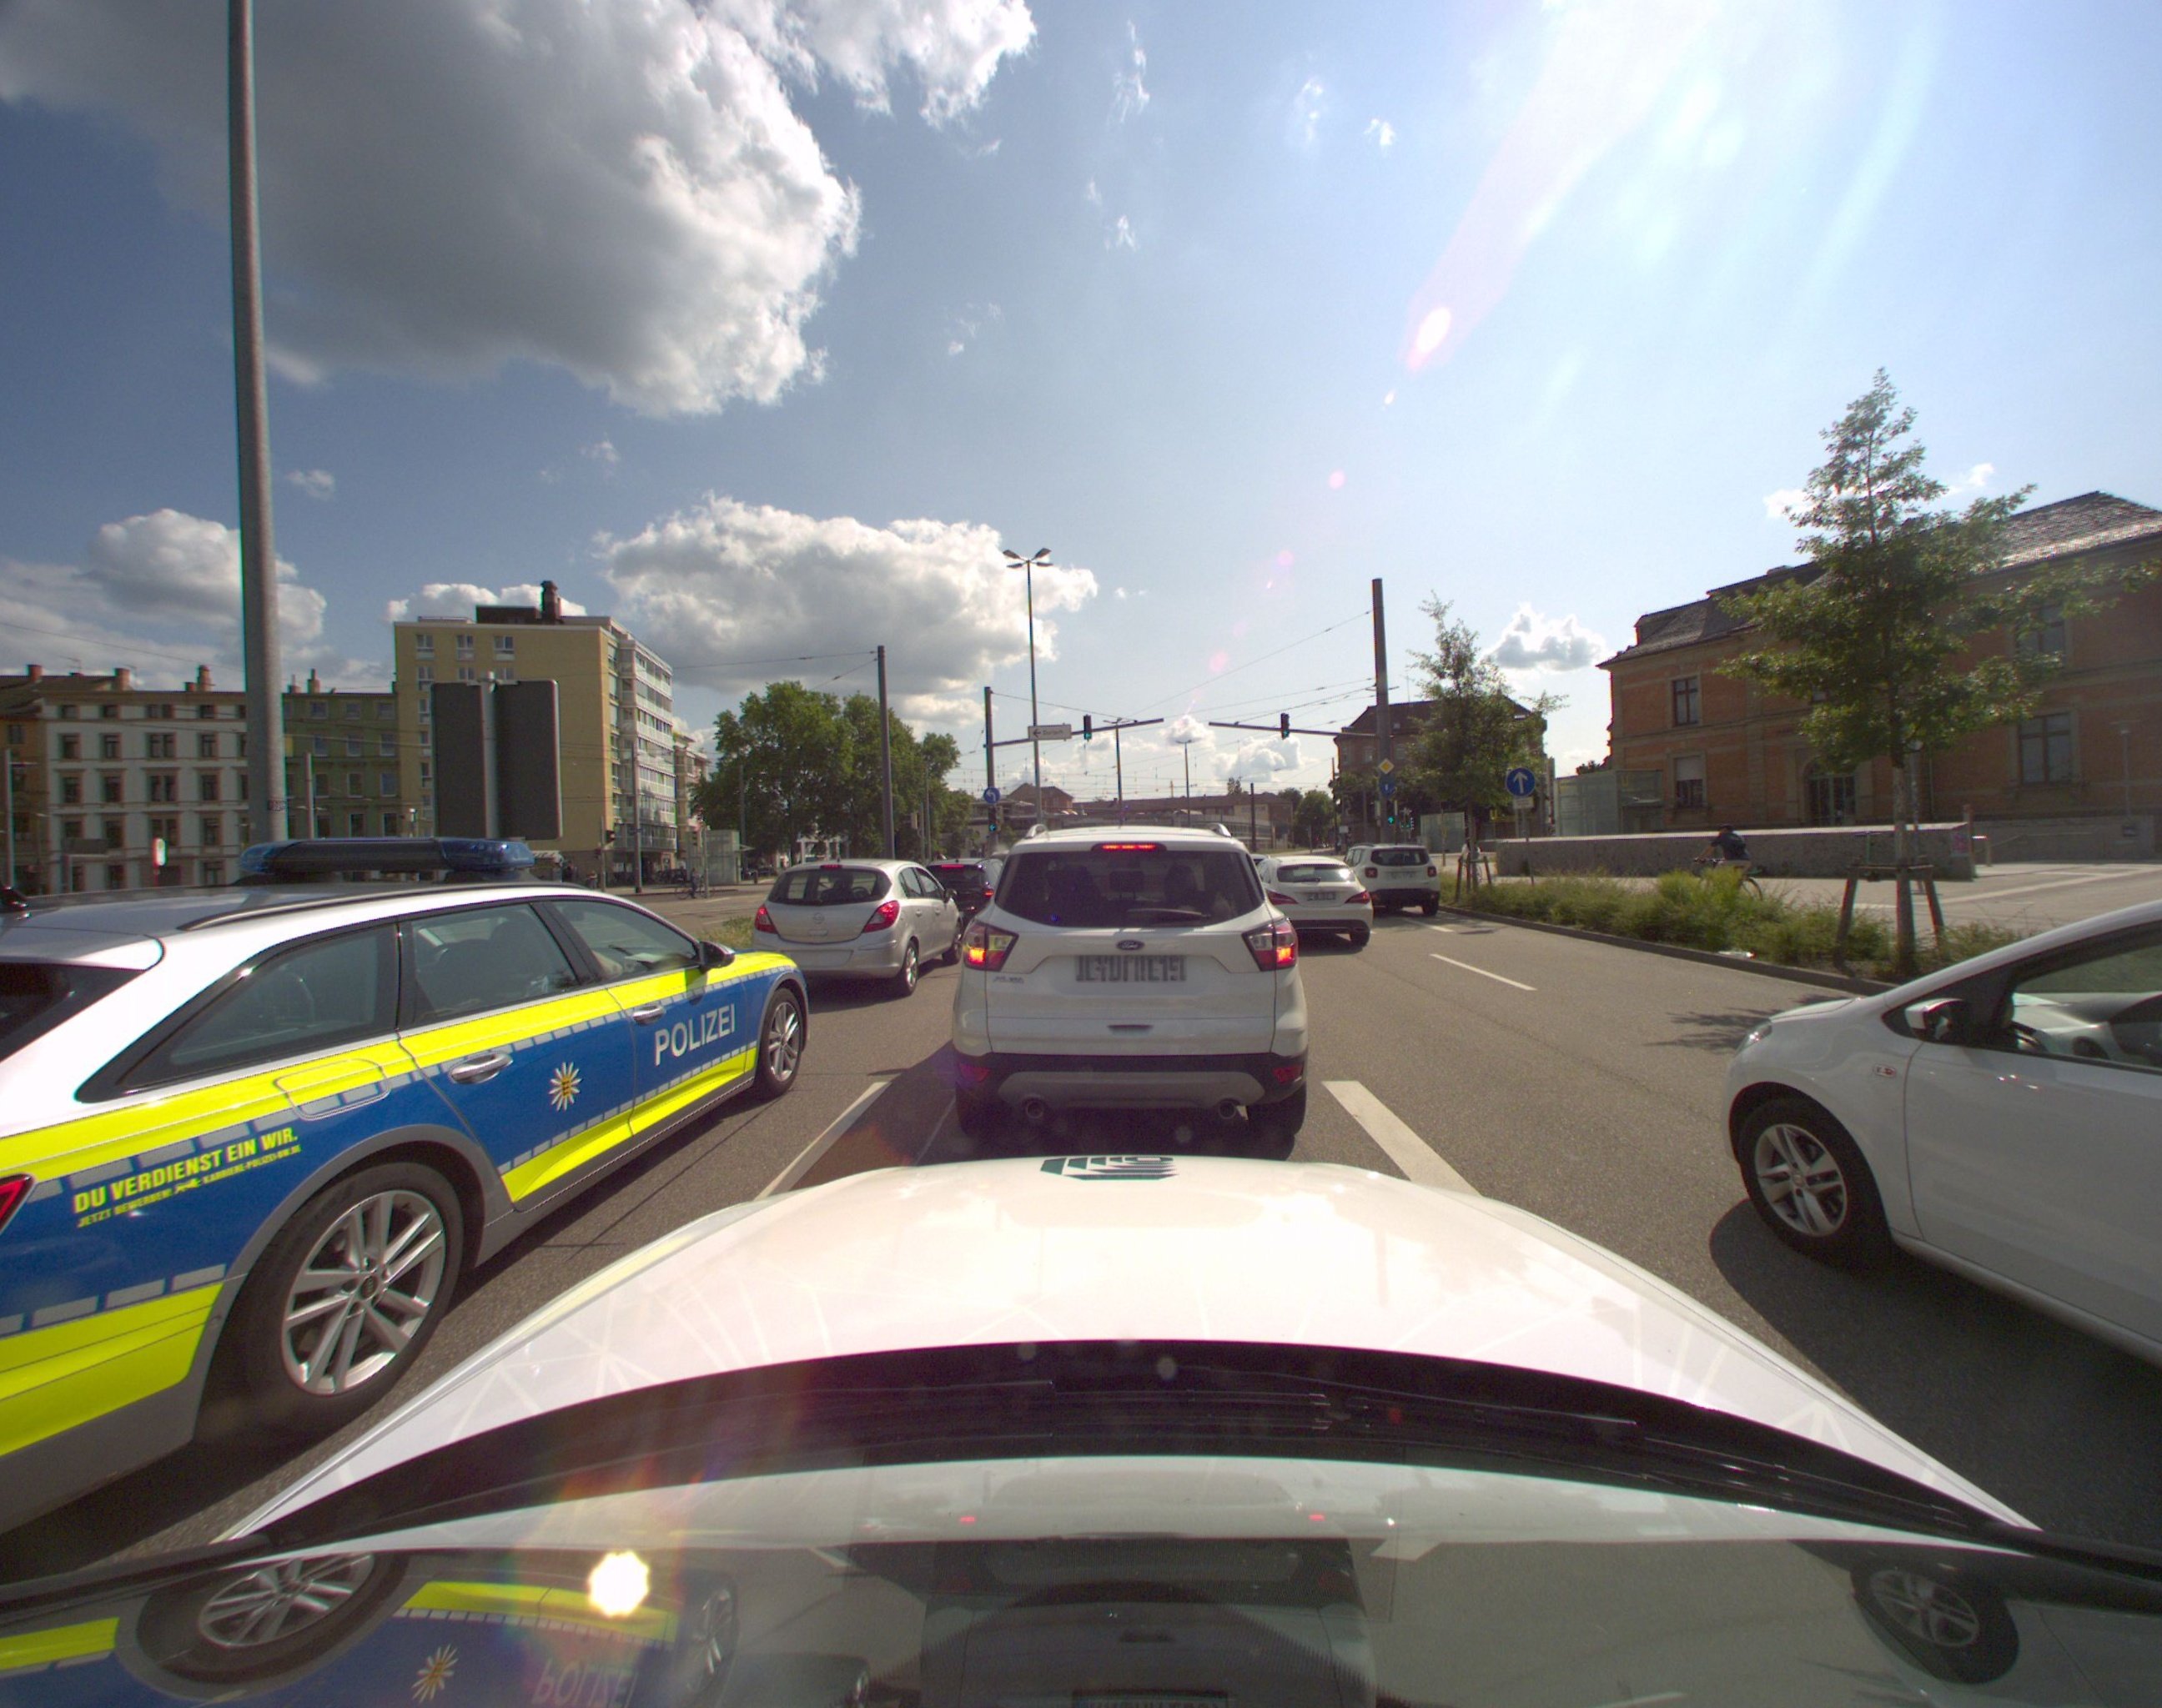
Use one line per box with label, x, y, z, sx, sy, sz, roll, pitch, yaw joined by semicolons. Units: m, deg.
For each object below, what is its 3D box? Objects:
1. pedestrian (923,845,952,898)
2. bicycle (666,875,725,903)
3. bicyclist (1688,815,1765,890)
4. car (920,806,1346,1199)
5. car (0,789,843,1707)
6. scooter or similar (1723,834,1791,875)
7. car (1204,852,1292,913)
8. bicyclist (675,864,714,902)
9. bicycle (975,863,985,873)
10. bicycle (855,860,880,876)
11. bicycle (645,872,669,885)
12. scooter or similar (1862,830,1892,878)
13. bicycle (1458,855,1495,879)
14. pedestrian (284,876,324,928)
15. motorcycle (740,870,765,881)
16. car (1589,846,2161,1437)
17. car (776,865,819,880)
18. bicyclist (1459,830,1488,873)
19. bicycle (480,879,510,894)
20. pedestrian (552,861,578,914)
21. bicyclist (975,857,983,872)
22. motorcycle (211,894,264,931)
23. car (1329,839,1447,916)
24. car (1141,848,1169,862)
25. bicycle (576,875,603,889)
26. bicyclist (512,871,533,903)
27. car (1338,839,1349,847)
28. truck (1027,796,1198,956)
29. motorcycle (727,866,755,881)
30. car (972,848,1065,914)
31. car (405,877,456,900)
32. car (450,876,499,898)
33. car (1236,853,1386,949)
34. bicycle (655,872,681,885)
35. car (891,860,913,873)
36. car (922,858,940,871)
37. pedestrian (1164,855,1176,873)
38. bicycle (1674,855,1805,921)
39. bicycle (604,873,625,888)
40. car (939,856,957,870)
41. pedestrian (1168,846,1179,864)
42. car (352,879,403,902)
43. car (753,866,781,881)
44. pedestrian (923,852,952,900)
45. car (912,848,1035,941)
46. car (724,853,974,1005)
pedestrian;-5.320;0.632;30.201;0.844;1.917;0.693;-3;-1;1
bicycle;-18.497;1.689;39.076;2.286;1.188;0.994;-3;-1;-1
bicyclist;11.190;-0.026;14.141;0.631;1.220;0.926;-4;0;10
car;0.396;0.646;5.497;1.818;1.664;3.961;-1;0;5
car;-2.716;0.705;3.484;1.873;1.568;4.617;-2;0;1
scooter or similar;19.400;0.017;23.399;0.466;1.118;1.438;-3;0;-18
car;4.265;0.688;21.263;1.841;1.419;3.684;-1;0;5
bicyclist;-18.540;1.388;39.098;1.293;1.731;0.994;-3;-1;-1
bicycle;-11.781;1.657;94.590;0.640;1.125;1.770;-2;0;-24
bicycle;-19.788;1.320;75.577;2.171;1.414;0.808;-1;0;-14
bicycle;-38.349;2.218;73.711;1.808;1.147;0.792;-2;0;-17
scooter or similar;19.698;-0.002;20.144;1.326;1.104;0.460;-4;0;-44
bicycle;13.825;0.441;28.503;0.582;0.775;1.623;-2;0;4
pedestrian;-28.163;1.724;29.527;0.769;1.797;1.019;0;-1;-27
motorcycle;-31.403;2.012;77.767;0.801;0.917;2.057;-2;1;39
car;3.442;0.717;2.196;1.644;1.422;3.999;2;-1;0
car;-30.434;2.005;87.494;3.975;1.327;1.633;-3;-1;-1
bicyclist;13.791;-0.083;28.621;0.605;1.451;0.775;-2;0;3
bicycle;-49.373;2.740;68.644;1.808;1.104;0.792;-2;0;-18
pedestrian;-19.098;1.217;30.163;0.770;1.903;0.819;0;-1;-30
bicyclist;-11.851;1.181;94.679;0.640;1.738;0.657;-2;0;-23
motorcycle;-30.643;2.118;29.596;1.436;1.236;0.484;-3;-1;3
car;7.325;0.524;19.810;1.826;1.652;4.009;-1;-1;8
car;8.545;0.065;93.676;1.882;1.461;3.991;-3;0;24
bicycle;-42.388;2.397;70.224;1.808;1.104;0.792;-2;0;-18
bicyclist;-32.416;1.905;47.276;0.779;1.797;0.706;0;-1;-16
car;54.107;-2.220;168.104;1.820;1.652;4.021;-2;-1;22
truck;0.666;0.312;14.246;2.328;2.155;5.859;-2;0;4
motorcycle;-30.451;1.782;72.899;2.193;1.238;0.910;-2;1;19
car;-1.580;0.675;22.256;2.032;1.578;4.541;-1;0;2
car;-48.046;2.536;60.112;3.849;1.496;1.912;-3;-2;35
car;-45.958;2.482;61.676;3.849;1.496;1.912;-3;-2;36
car;3.794;0.713;14.048;1.841;1.419;3.684;-1;0;5
bicycle;-38.036;2.241;75.008;1.948;1.147;0.792;-2;0;-17
car;-27.530;1.901;125.559;1.960;1.937;5.070;-4;-1;1
car;-22.918;1.636;124.651;1.963;1.937;4.227;-4;-1;-2
pedestrian;8.708;0.977;79.597;0.929;1.744;0.583;0;-1;-30
bicycle;11.204;0.549;13.956;0.842;0.970;1.966;-5;0;10
bicycle;-41.310;2.307;72.093;0.792;1.258;1.808;-2;0;-2
car;-20.284;1.445;124.334;1.989;2.014;4.227;-4;-1;-2
pedestrian;8.958;0.132;78.893;0.929;1.744;0.583;0;-1;-30
car;-51.466;2.672;59.557;3.849;1.496;1.912;-3;-2;35
car;-32.476;2.039;84.400;1.905;1.413;3.986;-3;-1;-10
pedestrian;-5.167;0.786;29.368;0.844;1.648;0.693;-3;-1;1
car;-1.975;0.693;16.240;1.756;1.568;4.528;-1;0;1
car;-2.619;0.764;10.254;1.841;1.474;4.002;-2;0;2
